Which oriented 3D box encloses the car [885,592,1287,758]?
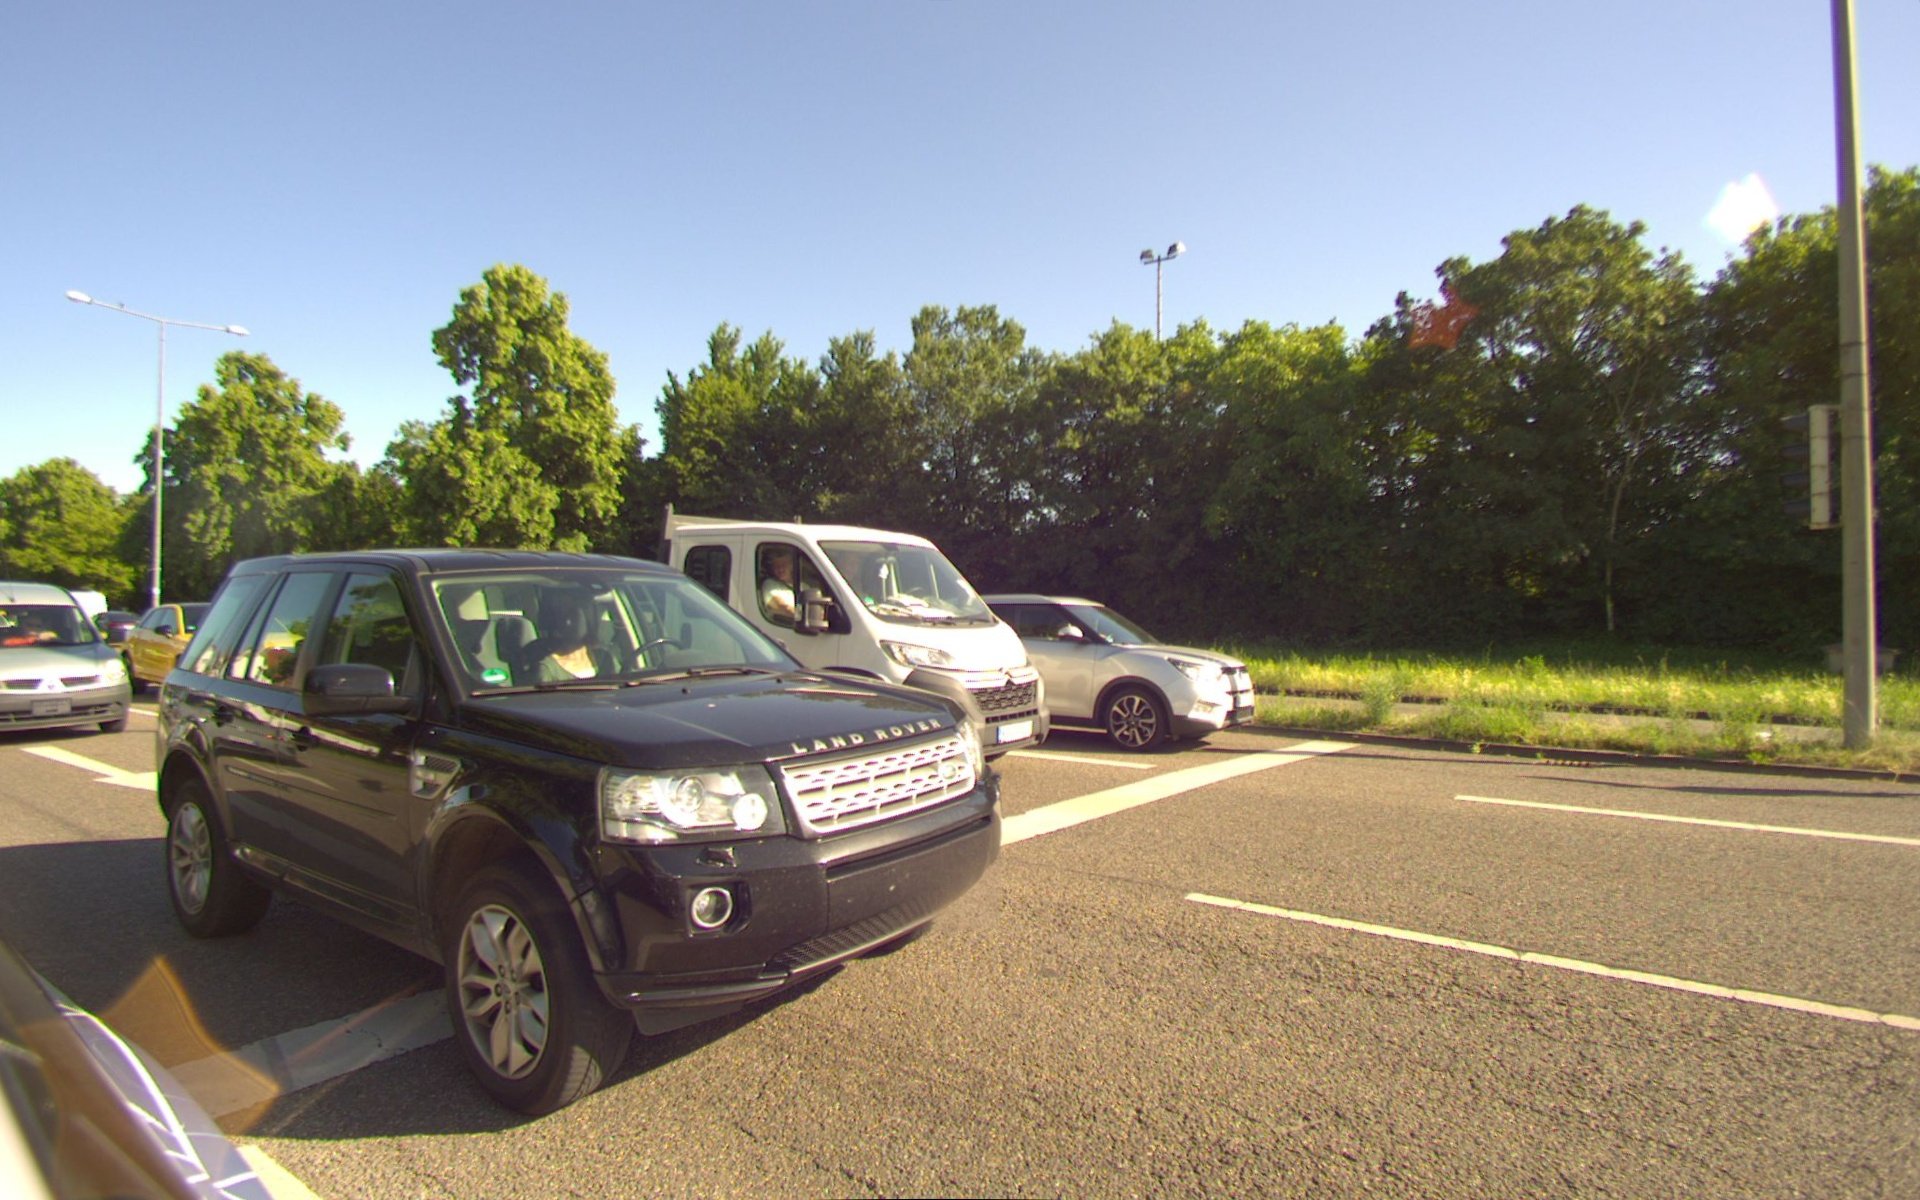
[{"bbox_3d":[1.334,0.740,11.460,4.186,1.549,1.814,0,-2,36],"label":"car"}]

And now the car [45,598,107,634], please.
[{"bbox_3d":[-54.352,0.973,62.191,4.531,2.100,1.895,0,1,36],"label":"car"}]

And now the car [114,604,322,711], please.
[{"bbox_3d":[-12.153,0.839,16.497,3.994,1.512,1.706,0,1,38],"label":"car"}]

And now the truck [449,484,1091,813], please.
[{"bbox_3d":[-2.212,0.389,10.018,6.759,2.327,2.165,-1,-2,35],"label":"truck"}]

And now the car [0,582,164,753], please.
[{"bbox_3d":[-11.310,0.700,12.020,4.358,1.741,1.897,0,1,38],"label":"car"}]

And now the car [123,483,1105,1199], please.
[{"bbox_3d":[-1.753,0.601,4.302,4.384,1.696,1.805,0,0,37],"label":"car"}]

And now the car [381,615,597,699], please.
[{"bbox_3d":[-8.961,1.002,19.146,4.346,1.415,1.814,0,-1,36],"label":"car"}]
